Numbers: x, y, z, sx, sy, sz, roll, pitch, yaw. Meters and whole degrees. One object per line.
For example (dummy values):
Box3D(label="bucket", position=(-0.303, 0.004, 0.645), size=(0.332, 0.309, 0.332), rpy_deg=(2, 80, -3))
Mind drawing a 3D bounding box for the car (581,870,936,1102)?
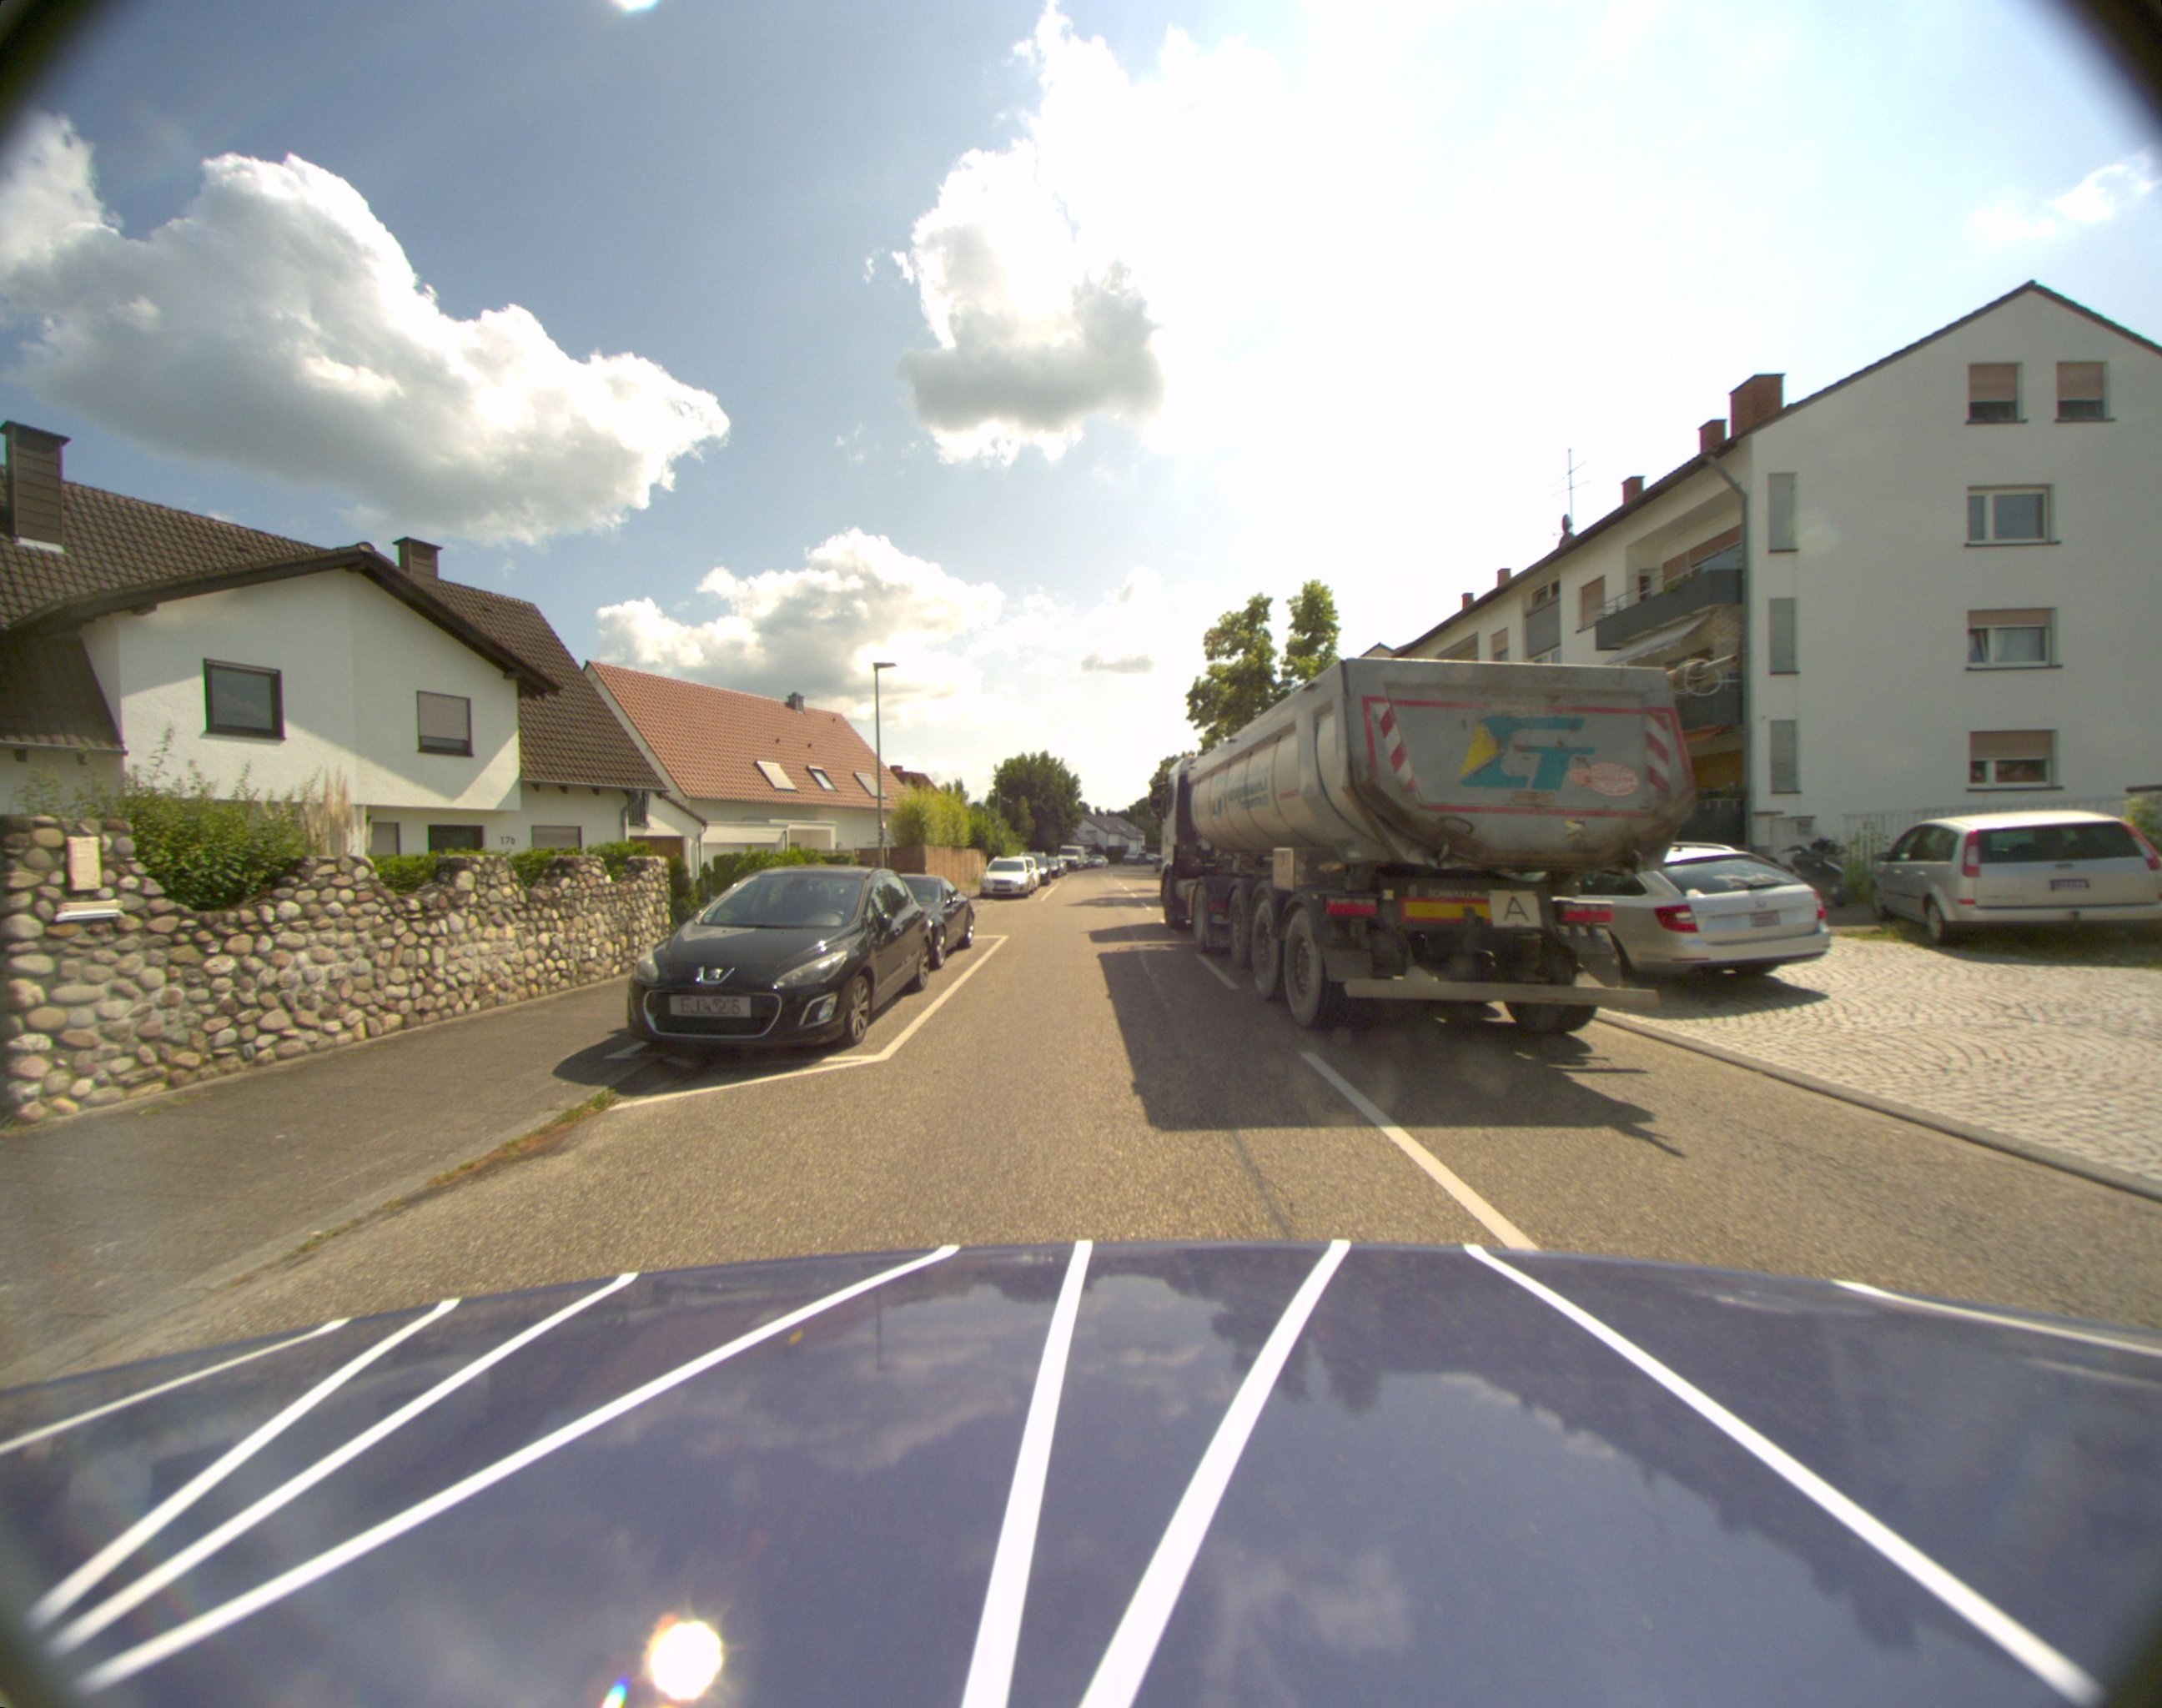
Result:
Box3D(label="car", position=(-2.685, 0.984, 7.475), size=(1.748, 1.542, 4.121), rpy_deg=(0, 0, -1))

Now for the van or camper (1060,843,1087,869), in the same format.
Box3D(label="van or camper", position=(-0.691, 0.169, 72.517), size=(1.972, 2.345, 5.761), rpy_deg=(0, 0, 6))

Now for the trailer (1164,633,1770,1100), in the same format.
Box3D(label="trailer", position=(3.078, 0.051, 9.500), size=(2.842, 3.051, 8.887), rpy_deg=(-1, 0, -2))

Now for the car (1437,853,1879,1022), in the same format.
Box3D(label="car", position=(6.544, 0.818, 9.505), size=(1.753, 1.452, 4.708), rpy_deg=(-5, -1, -2))

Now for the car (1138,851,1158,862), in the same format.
Box3D(label="car", position=(9.451, 0.347, 107.311), size=(1.841, 1.410, 3.894), rpy_deg=(-1, 0, 21))

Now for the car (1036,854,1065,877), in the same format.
Box3D(label="car", position=(-2.054, 0.756, 52.290), size=(1.731, 1.496, 4.295), rpy_deg=(0, 1, 1))

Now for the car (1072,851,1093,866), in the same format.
Box3D(label="car", position=(0.152, 0.500, 79.609), size=(1.683, 1.513, 4.065), rpy_deg=(0, 0, 8))

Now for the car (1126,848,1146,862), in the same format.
Box3D(label="car", position=(7.386, 0.147, 101.259), size=(1.838, 1.855, 4.286), rpy_deg=(1, 1, 15))

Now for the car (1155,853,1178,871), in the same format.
Box3D(label="car", position=(7.457, 0.690, 66.685), size=(1.758, 1.410, 4.001), rpy_deg=(-5, 0, 5))

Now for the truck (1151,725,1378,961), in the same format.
Box3D(label="truck", position=(3.026, -0.175, 14.299), size=(2.780, 3.478, 5.881), rpy_deg=(-1, 0, 0))

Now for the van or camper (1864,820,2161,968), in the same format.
Box3D(label="van or camper", position=(11.986, 0.385, 9.918), size=(1.776, 1.534, 4.007), rpy_deg=(-3, 1, 36))

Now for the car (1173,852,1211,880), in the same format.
Box3D(label="car", position=(6.447, 0.685, 44.476), size=(1.692, 1.428, 4.464), rpy_deg=(-4, 0, 3))

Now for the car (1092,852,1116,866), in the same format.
Box3D(label="car", position=(2.640, 0.565, 86.947), size=(1.817, 1.513, 4.270), rpy_deg=(0, 0, 15))

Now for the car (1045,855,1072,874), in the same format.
Box3D(label="car", position=(-1.719, 0.788, 58.550), size=(1.684, 1.428, 4.063), rpy_deg=(0, 0, 4))

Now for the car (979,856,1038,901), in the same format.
Box3D(label="car", position=(-2.721, 0.870, 29.339), size=(1.749, 1.543, 4.292), rpy_deg=(-2, 0, 1))

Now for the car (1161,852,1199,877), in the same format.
Box3D(label="car", position=(6.492, 0.682, 50.200), size=(1.735, 1.468, 4.631), rpy_deg=(-4, 0, -1))

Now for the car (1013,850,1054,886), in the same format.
Box3D(label="car", position=(-2.469, 0.687, 40.451), size=(1.896, 1.763, 4.708), rpy_deg=(-1, 0, 0))

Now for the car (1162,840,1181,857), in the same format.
Box3D(label="car", position=(9.119, -0.504, 76.389), size=(1.758, 1.479, 3.684), rpy_deg=(-5, -1, 8))

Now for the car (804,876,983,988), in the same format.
Box3D(label="car", position=(-2.720, 1.090, 11.964), size=(1.714, 1.310, 3.963), rpy_deg=(-1, 0, 2))

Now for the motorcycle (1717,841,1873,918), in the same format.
Box3D(label="motorcycle", position=(12.827, 0.453, 13.683), size=(2.098, 1.242, 0.678), rpy_deg=(-3, 1, 1))

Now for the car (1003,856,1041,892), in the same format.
Box3D(label="car", position=(-2.663, 0.885, 34.792), size=(1.446, 1.496, 3.670), rpy_deg=(-3, 0, -1))
